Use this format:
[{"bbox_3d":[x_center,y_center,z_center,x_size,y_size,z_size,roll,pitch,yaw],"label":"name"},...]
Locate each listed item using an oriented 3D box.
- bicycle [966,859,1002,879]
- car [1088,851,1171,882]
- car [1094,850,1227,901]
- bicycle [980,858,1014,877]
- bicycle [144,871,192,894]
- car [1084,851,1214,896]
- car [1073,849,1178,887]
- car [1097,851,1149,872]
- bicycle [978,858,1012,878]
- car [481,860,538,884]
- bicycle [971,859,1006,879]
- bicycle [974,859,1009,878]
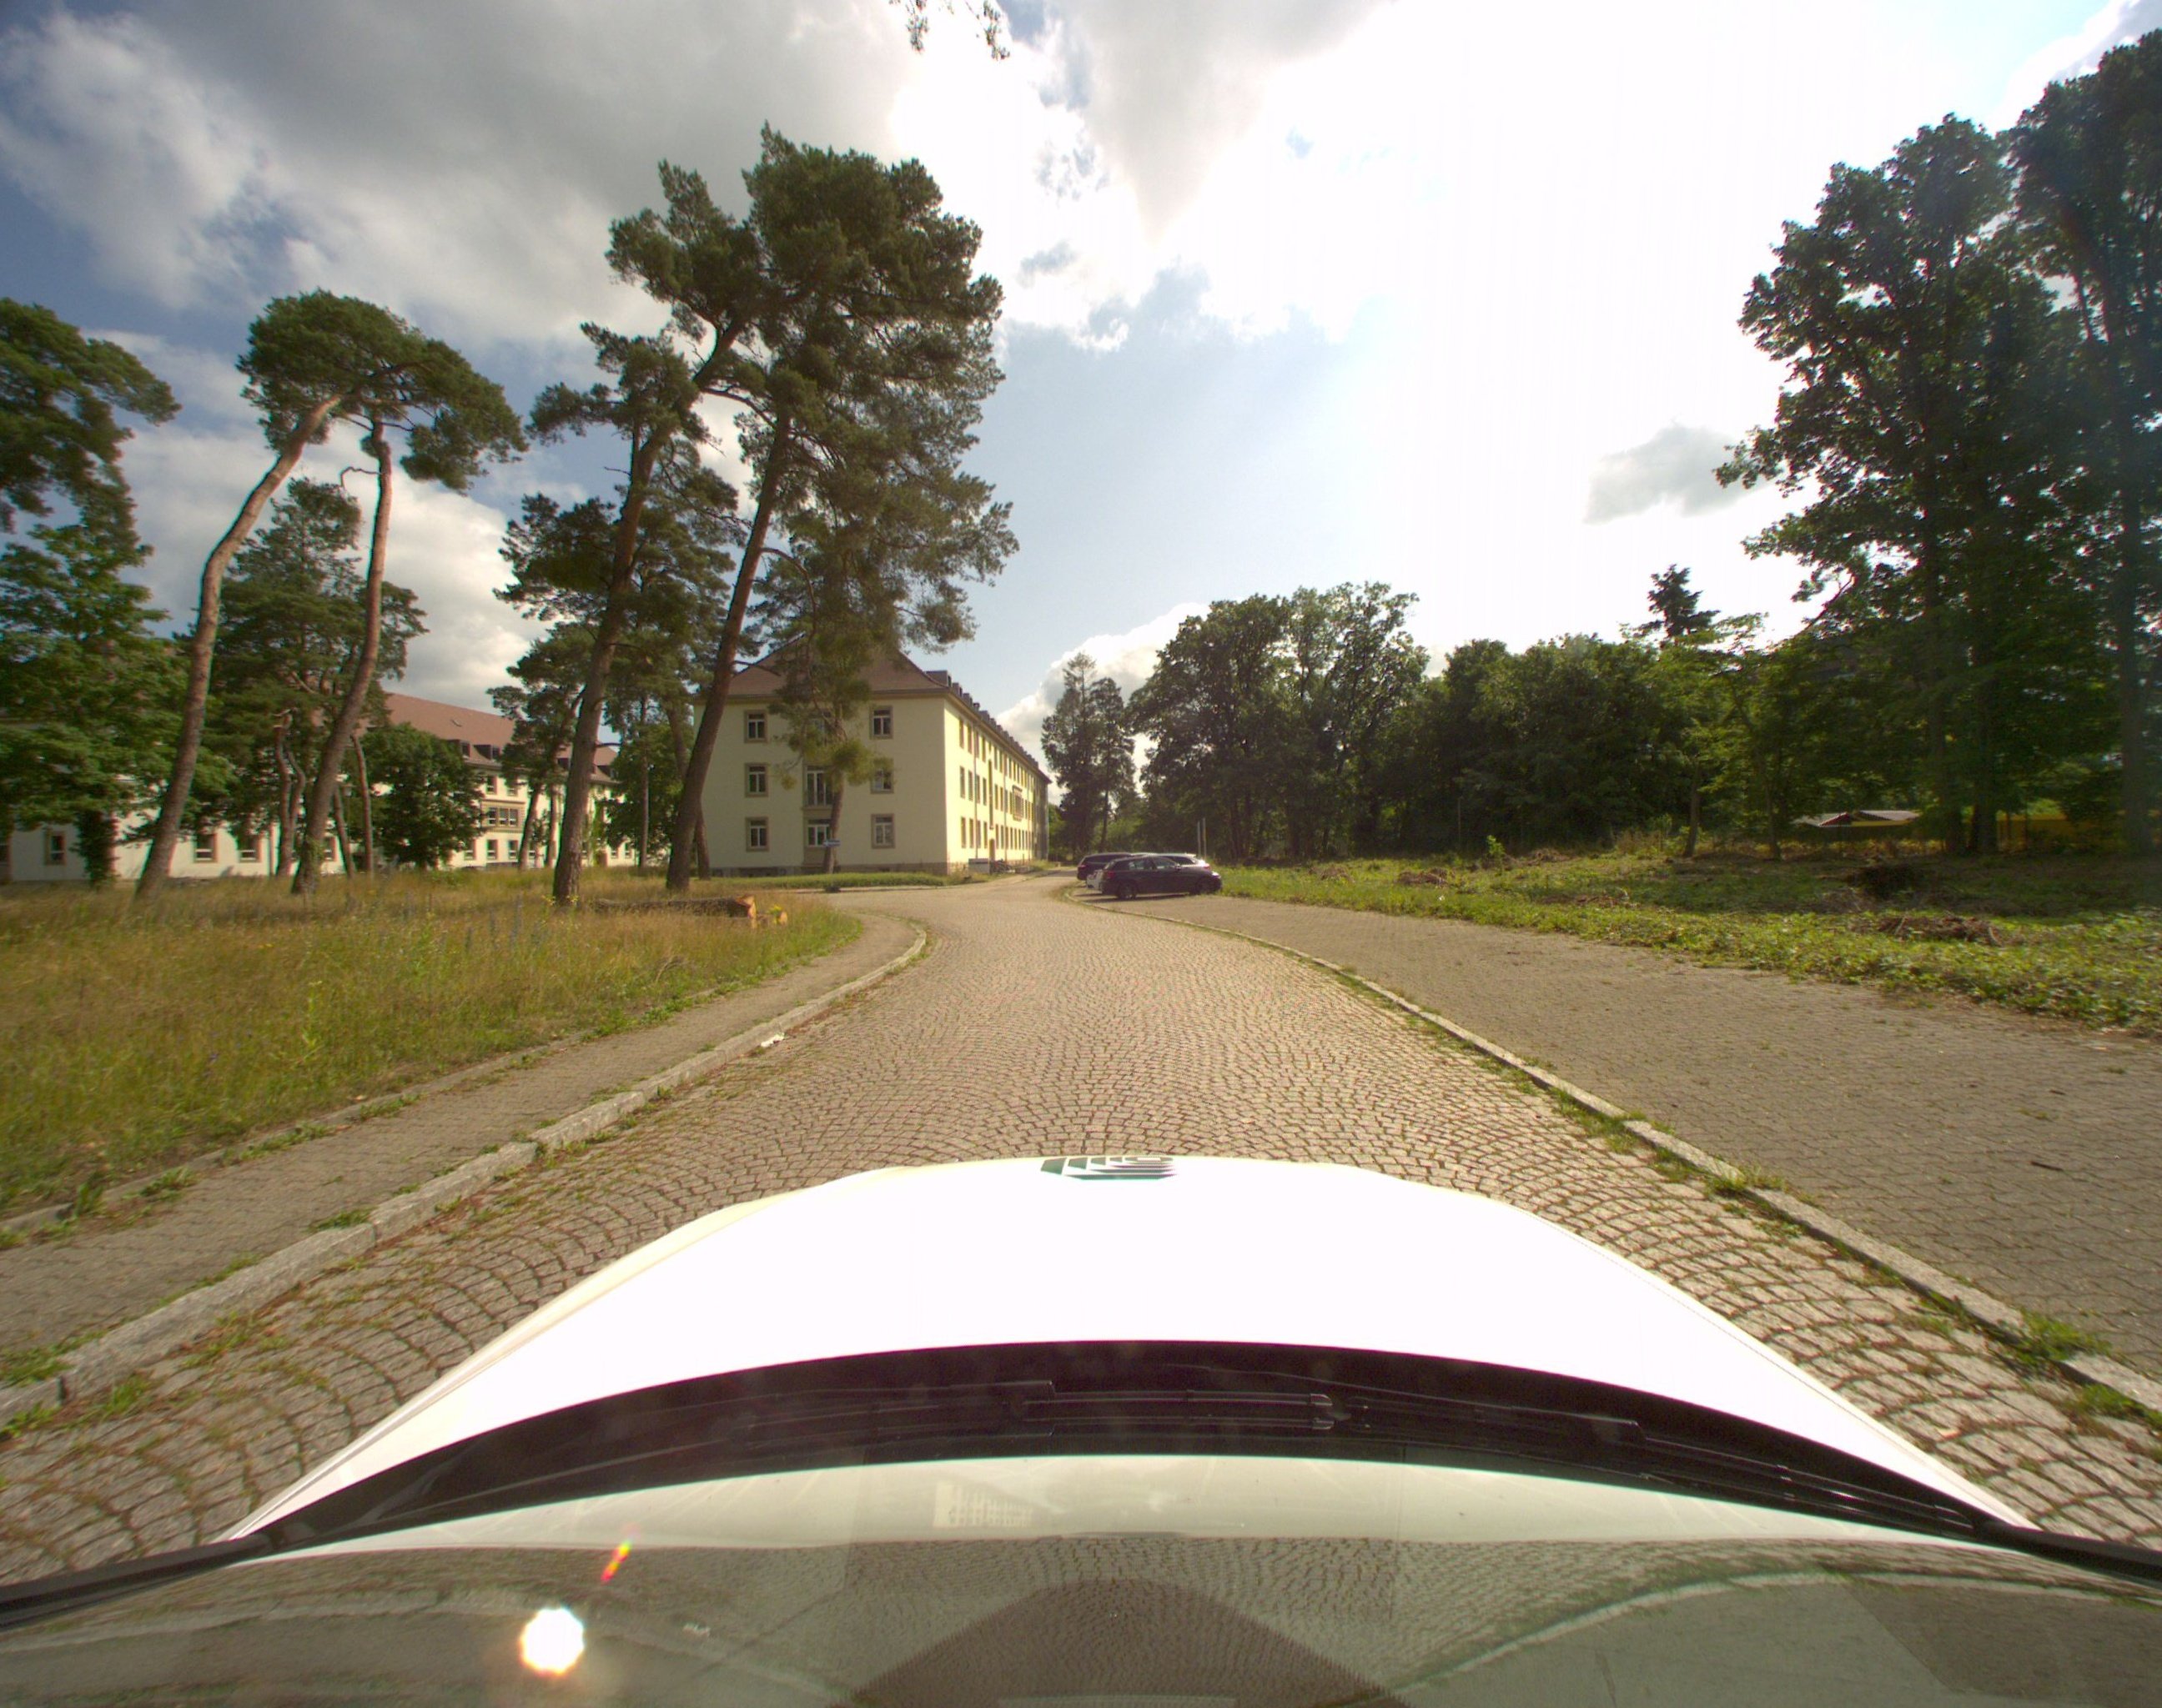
[{"bbox_3d":[-6.390,0.983,53.737,2.209,1.260,0.624,-2,0,9],"label":"bicycle"},{"bbox_3d":[2.617,0.681,44.514,4.382,1.484,1.766,-3,-1,1],"label":"car"},{"bbox_3d":[2.716,0.733,28.468,4.318,1.500,1.827,-3,1,-6],"label":"car"},{"bbox_3d":[-5.915,0.976,57.378,2.211,1.260,0.624,-2,0,5],"label":"bicycle"},{"bbox_3d":[-47.867,1.482,42.715,0.486,1.100,1.592,-1,0,14],"label":"bicycle"},{"bbox_3d":[2.587,0.737,31.630,4.844,1.472,1.875,-3,1,1],"label":"car"},{"bbox_3d":[2.126,0.661,39.008,4.835,1.552,1.880,-3,-1,1],"label":"car"},{"bbox_3d":[3.492,0.622,67.126,4.168,1.543,1.822,-3,-1,4],"label":"car"},{"bbox_3d":[-5.950,0.974,56.369,2.211,1.260,0.624,-2,0,5],"label":"bicycle"},{"bbox_3d":[-52.319,1.623,74.557,4.042,1.991,1.715,-2,0,3],"label":"car"},{"bbox_3d":[-6.212,0.976,54.584,2.211,1.260,0.624,-2,0,5],"label":"bicycle"},{"bbox_3d":[-6.090,0.979,55.468,2.209,1.260,0.624,-2,0,9],"label":"bicycle"}]
